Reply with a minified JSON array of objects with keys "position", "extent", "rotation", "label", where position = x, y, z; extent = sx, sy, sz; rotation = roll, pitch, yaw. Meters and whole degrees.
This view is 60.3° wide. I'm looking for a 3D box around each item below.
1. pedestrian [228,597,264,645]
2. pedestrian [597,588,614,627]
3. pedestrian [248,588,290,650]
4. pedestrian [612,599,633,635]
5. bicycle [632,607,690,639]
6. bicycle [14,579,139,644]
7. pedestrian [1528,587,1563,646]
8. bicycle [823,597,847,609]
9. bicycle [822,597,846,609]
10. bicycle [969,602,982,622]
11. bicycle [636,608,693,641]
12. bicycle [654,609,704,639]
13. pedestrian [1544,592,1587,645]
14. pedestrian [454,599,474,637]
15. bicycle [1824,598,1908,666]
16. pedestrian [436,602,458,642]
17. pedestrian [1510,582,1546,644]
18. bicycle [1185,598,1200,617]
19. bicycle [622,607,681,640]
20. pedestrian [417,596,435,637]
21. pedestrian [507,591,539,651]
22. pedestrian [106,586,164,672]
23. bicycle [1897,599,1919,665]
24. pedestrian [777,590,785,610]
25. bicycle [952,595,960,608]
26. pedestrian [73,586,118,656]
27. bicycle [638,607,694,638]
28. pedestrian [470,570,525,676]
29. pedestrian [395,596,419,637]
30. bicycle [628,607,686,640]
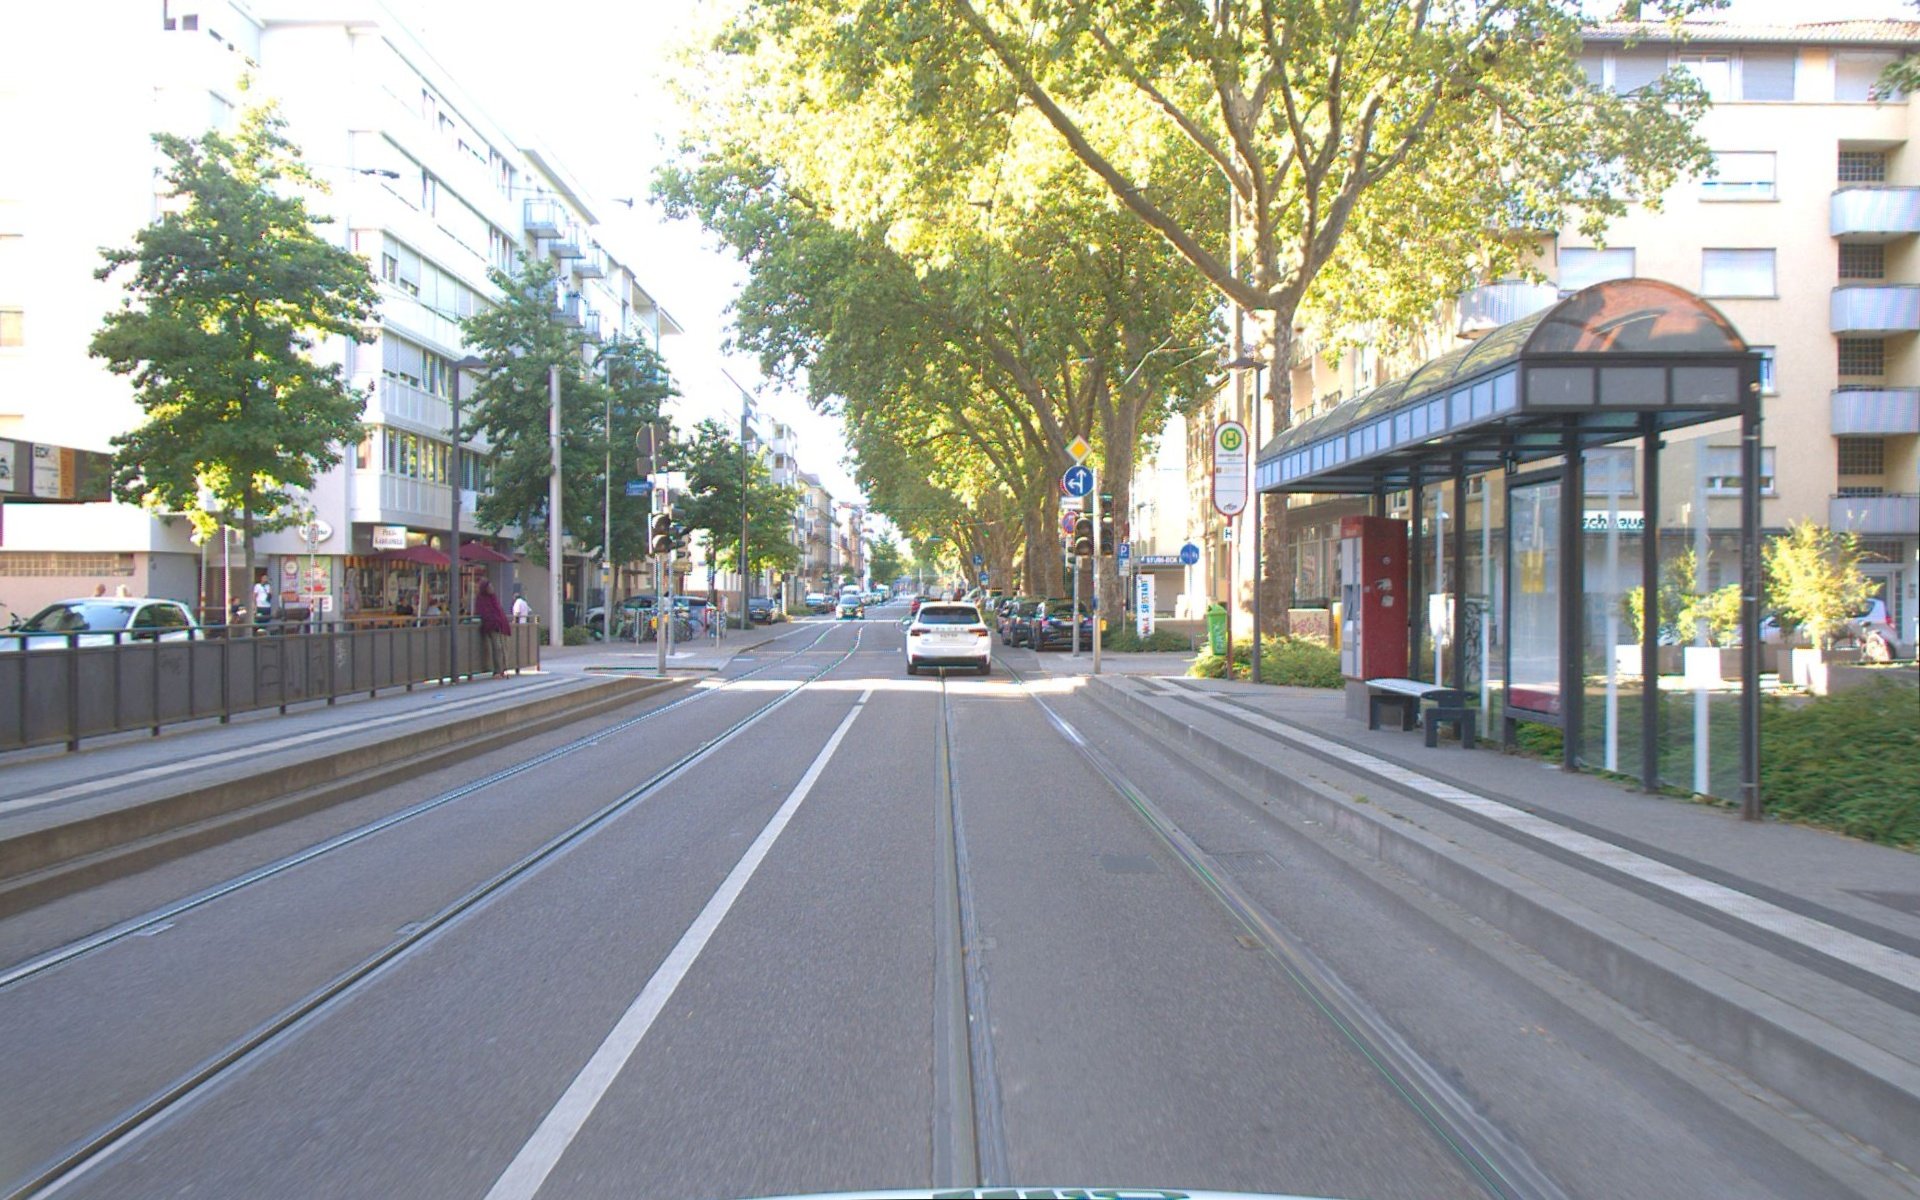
[{"position":[-19.091,0.544,44.206],"extent":[0.741,1.263,0.759],"rotation":[0,0,-35],"label":"pedestrian"},{"position":[-16.007,0.341,74.731],"extent":[0.650,1.720,0.748],"rotation":[0,0,-3],"label":"pedestrian"},{"position":[-18.908,0.510,45.240],"extent":[0.731,1.688,0.769],"rotation":[0,0,14],"label":"pedestrian"},{"position":[-12.467,0.612,61.102],"extent":[0.700,1.320,0.744],"rotation":[0,0,-15],"label":"pedestrian"},{"position":[-9.875,0.766,54.652],"extent":[1.794,1.025,0.657],"rotation":[1,-1,-6],"label":"bicycle"},{"position":[-16.441,0.211,30.818],"extent":[2.004,1.177,0.568],"rotation":[0,0,-24],"label":"bicycle"},{"position":[15.763,0.439,44.496],"extent":[0.690,1.566,0.687],"rotation":[-1,0,40],"label":"pedestrian"},{"position":[-13.296,0.352,175.508],"extent":[2.477,1.193,0.718],"rotation":[2,-2,-8],"label":"bicycle"},{"position":[-13.342,0.350,174.625],"extent":[2.510,1.193,0.870],"rotation":[3,-2,-41],"label":"bicycle"},{"position":[0.870,0.672,92.614],"extent":[0.667,1.089,1.780],"rotation":[0,0,0],"label":"bicycle"},{"position":[-9.820,0.814,54.972],"extent":[1.794,1.082,0.657],"rotation":[1,-1,-6],"label":"bicycle"},{"position":[-9.706,0.828,57.140],"extent":[1.658,1.025,0.657],"rotation":[1,-1,-6],"label":"bicycle"},{"position":[16.607,0.507,45.379],"extent":[0.824,1.439,0.767],"rotation":[0,0,-10],"label":"pedestrian"},{"position":[-16.117,0.571,53.712],"extent":[0.506,1.219,0.558],"rotation":[0,0,-30],"label":"pedestrian"},{"position":[16.288,0.554,29.773],"extent":[0.587,1.177,1.698],"rotation":[-2,0,2],"label":"bicycle"},{"position":[-15.965,0.687,51.468],"extent":[0.501,1.219,0.564],"rotation":[0,0,1],"label":"pedestrian"},{"position":[15.657,0.355,45.598],"extent":[0.693,1.712,0.655],"rotation":[0,0,-28],"label":"pedestrian"},{"position":[13.931,0.455,99.065],"extent":[0.571,1.123,1.922],"rotation":[-2,0,-2],"label":"bicycle"},{"position":[-9.977,0.761,53.562],"extent":[1.794,1.025,0.657],"rotation":[1,-1,-6],"label":"bicycle"},{"position":[-16.068,0.503,49.778],"extent":[0.503,1.219,0.561],"rotation":[0,0,-17],"label":"pedestrian"},{"position":[-11.739,0.566,44.402],"extent":[0.711,1.583,0.768],"rotation":[0,0,-7],"label":"pedestrian"},{"position":[-15.451,0.533,31.002],"extent":[0.710,1.583,0.726],"rotation":[0,0,1],"label":"pedestrian"},{"position":[17.376,0.566,29.169],"extent":[0.588,1.177,1.696],"rotation":[-2,0,-5],"label":"bicycle"},{"position":[-16.195,-0.005,149.391],"extent":[0.650,1.858,0.965],"rotation":[0,0,-3],"label":"pedestrian"},{"position":[-0.371,0.109,145.211],"extent":[0.636,1.089,1.582],"rotation":[0,0,-3],"label":"bicycle"},{"position":[-21.120,0.509,40.424],"extent":[0.743,1.700,0.768],"rotation":[0,0,-7],"label":"pedestrian"},{"position":[-9.899,0.763,55.783],"extent":[1.794,1.025,0.657],"rotation":[1,-1,-6],"label":"bicycle"},{"position":[-7.140,0.355,25.557],"extent":[0.640,1.613,0.772],"rotation":[0,0,-1],"label":"pedestrian"},{"position":[-16.765,0.504,50.112],"extent":[0.557,1.219,0.506],"rotation":[0,0,-36],"label":"pedestrian"},{"position":[-9.895,0.764,54.005],"extent":[1.794,1.025,0.657],"rotation":[1,-1,-6],"label":"bicycle"}]
